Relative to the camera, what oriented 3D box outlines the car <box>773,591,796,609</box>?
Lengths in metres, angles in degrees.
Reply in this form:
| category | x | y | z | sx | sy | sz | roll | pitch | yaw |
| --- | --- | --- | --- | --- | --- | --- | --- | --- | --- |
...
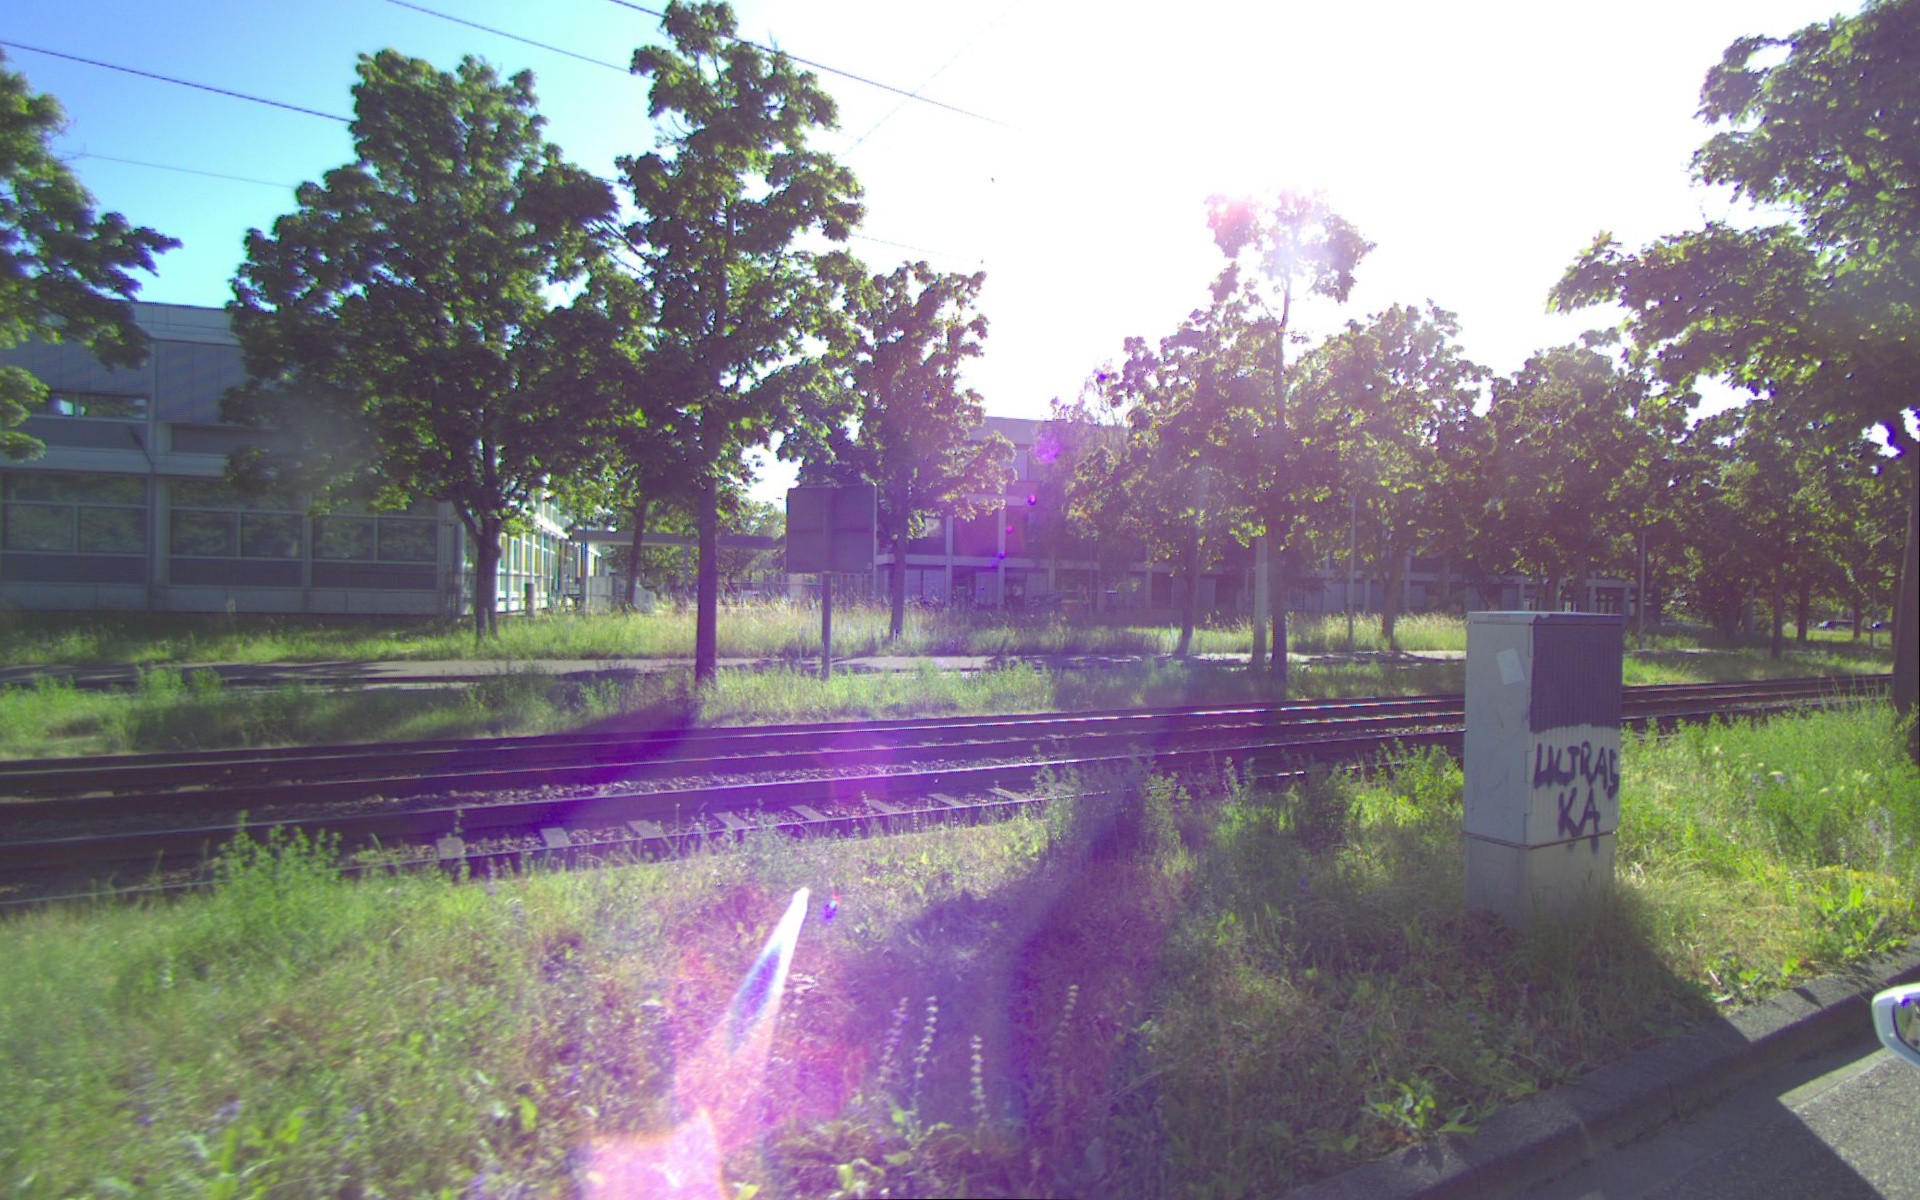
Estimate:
| category | x | y | z | sx | sy | sz | roll | pitch | yaw |
| --- | --- | --- | --- | --- | --- | --- | --- | --- | --- |
| car | -15.261 | 0.001 | 87.158 | 1.816 | 1.513 | 4.539 | 2 | 0 | -12 |

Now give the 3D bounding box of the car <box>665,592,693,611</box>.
| category | x | y | z | sx | sy | sz | roll | pitch | yaw |
| --- | --- | --- | --- | --- | --- | --- | --- | --- | --- |
| car | -20.046 | 0.102 | 71.797 | 1.603 | 1.259 | 4.214 | 2 | 0 | -12 |

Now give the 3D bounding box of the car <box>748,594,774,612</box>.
| category | x | y | z | sx | sy | sz | roll | pitch | yaw |
| --- | --- | --- | --- | --- | --- | --- | --- | --- | --- |
| car | -15.082 | 0.236 | 75.989 | 1.816 | 1.284 | 4.538 | 2 | 0 | -12 |

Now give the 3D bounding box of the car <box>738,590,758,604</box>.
| category | x | y | z | sx | sy | sz | roll | pitch | yaw |
| --- | --- | --- | --- | --- | --- | --- | --- | --- | --- |
| car | -22.154 | -0.281 | 104.949 | 1.814 | 1.380 | 4.541 | 2 | 0 | -10 |
